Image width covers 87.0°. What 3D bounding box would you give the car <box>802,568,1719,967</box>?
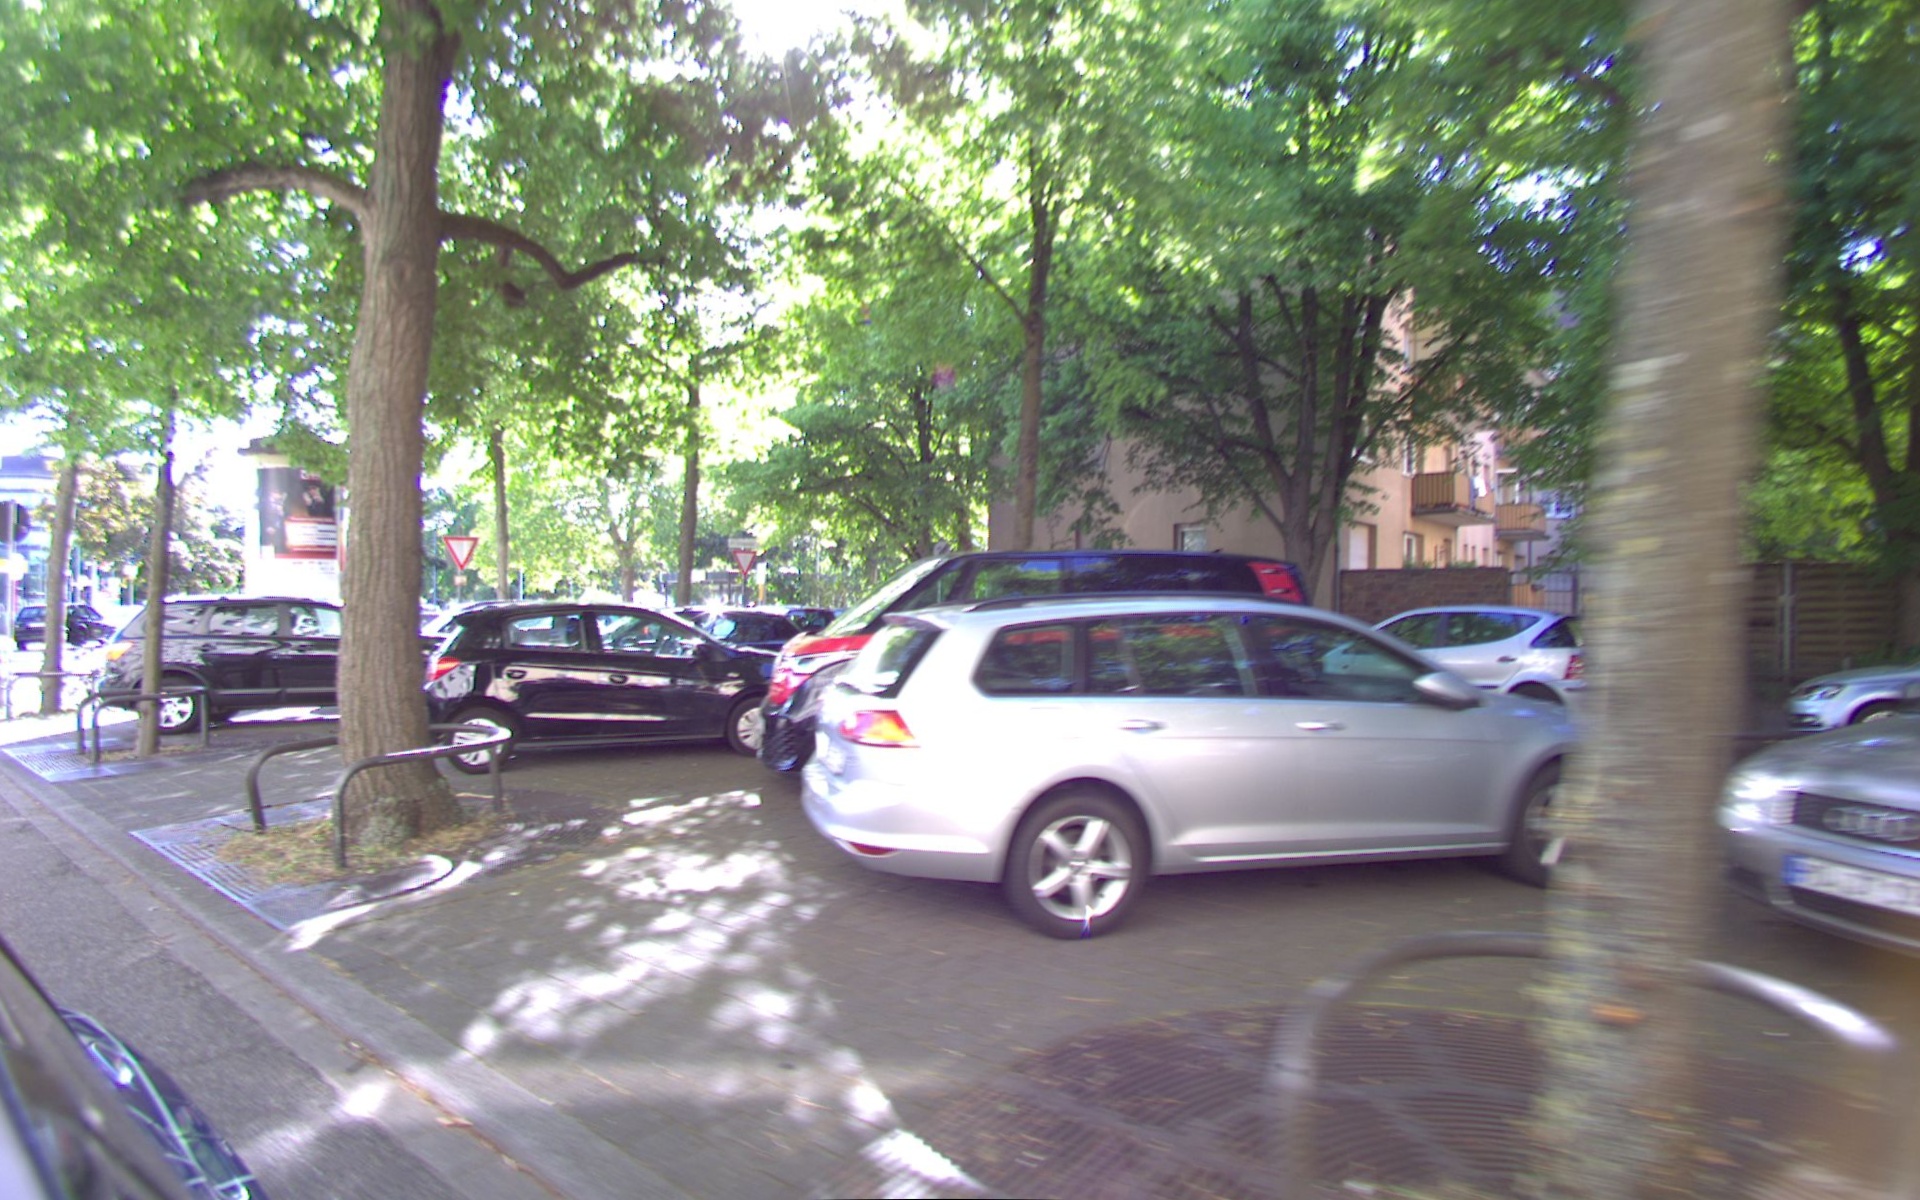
[{"bbox_3d":[1.432,0.635,5.294,4.270,1.518,1.819,0,0,-16],"label":"car"}]

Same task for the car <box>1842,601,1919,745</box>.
[{"bbox_3d":[11.399,0.727,9.758,4.341,1.446,1.745,0,0,41],"label":"car"}]

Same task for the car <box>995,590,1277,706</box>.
[{"bbox_3d":[2.779,0.698,16.499,4.242,1.652,1.737,0,0,39],"label":"car"}]

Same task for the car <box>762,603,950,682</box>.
[{"bbox_3d":[-2.262,0.826,21.375,3.947,1.523,1.736,0,0,41],"label":"car"}]

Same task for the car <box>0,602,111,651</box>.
[{"bbox_3d":[-30.369,0.849,34.059,1.655,1.519,3.608,-2,0,-21],"label":"car"}]

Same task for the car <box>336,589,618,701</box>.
[{"bbox_3d":[-7.826,0.680,16.563,3.931,1.623,1.928,1,-1,-29],"label":"car"}]

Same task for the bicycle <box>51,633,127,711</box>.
[{"bbox_3d":[-12.867,1.045,14.937,1.586,1.080,0.350,0,0,30],"label":"bicycle"}]

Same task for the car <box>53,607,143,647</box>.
[{"bbox_3d":[-34.604,1.054,40.728,1.655,1.519,3.608,0,0,-21],"label":"car"}]

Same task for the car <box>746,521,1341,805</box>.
[{"bbox_3d":[0.577,0.414,8.256,4.426,1.887,1.941,0,0,-16],"label":"car"}]

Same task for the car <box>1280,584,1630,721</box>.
[{"bbox_3d":[6.584,0.613,13.680,3.947,1.581,1.735,0,0,41],"label":"car"}]

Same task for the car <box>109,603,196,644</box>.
[{"bbox_3d":[-32.798,0.920,41.223,1.768,1.592,4.013,1,-1,-24],"label":"car"}]

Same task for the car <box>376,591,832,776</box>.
[{"bbox_3d":[-3.273,0.679,9.657,3.757,1.492,1.767,0,0,-21],"label":"car"}]

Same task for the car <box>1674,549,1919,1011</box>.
[{"bbox_3d":[5.231,0.587,3.838,4.270,1.518,1.819,0,0,-16],"label":"car"}]

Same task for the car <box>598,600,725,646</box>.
[{"bbox_3d":[-10.682,0.800,36.588,1.896,1.564,4.443,0,-1,27],"label":"car"}]

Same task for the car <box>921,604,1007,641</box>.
[{"bbox_3d":[0.177,0.903,41.677,3.228,1.492,1.613,0,-1,16],"label":"car"}]

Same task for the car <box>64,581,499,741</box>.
[{"bbox_3d":[-8.340,0.678,12.950,4.262,1.684,1.843,-2,0,-20],"label":"car"}]

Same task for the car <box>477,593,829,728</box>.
[{"bbox_3d":[-3.747,0.640,12.370,3.880,1.433,1.827,0,0,-25],"label":"car"}]

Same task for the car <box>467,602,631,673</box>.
[{"bbox_3d":[-9.756,0.822,23.896,4.298,1.530,1.883,0,0,41],"label":"car"}]

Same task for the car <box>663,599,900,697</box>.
[{"bbox_3d":[-3.123,0.747,17.448,3.939,1.497,1.739,0,0,34],"label":"car"}]
